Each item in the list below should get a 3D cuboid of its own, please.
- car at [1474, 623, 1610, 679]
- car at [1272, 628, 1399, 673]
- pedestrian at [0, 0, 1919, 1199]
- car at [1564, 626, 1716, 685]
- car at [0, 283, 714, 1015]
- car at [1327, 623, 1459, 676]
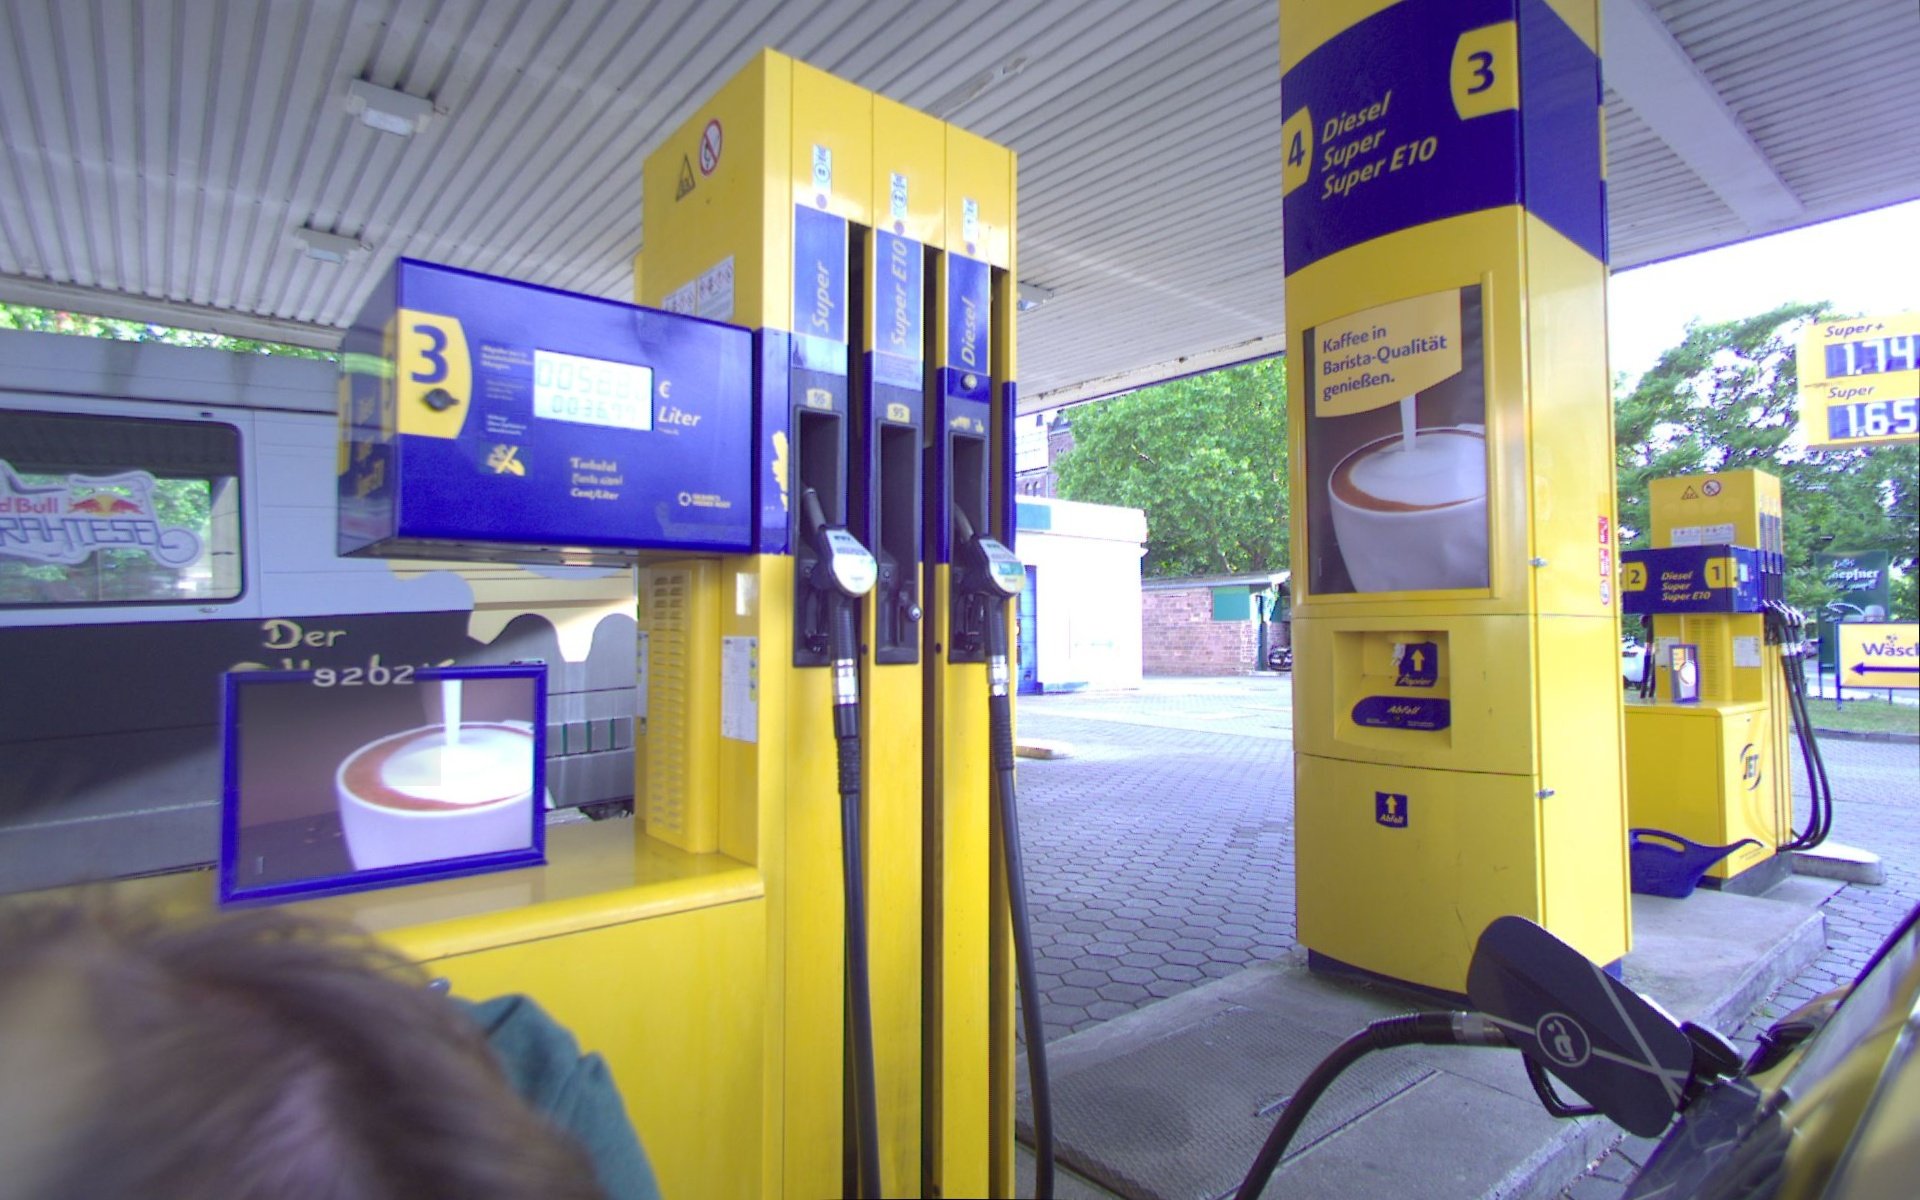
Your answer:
[{"bbox_3d":[17.767,1.572,30.846,4.112,1.606,1.826,2,-3,-31],"label":"car"},{"bbox_3d":[12.639,1.693,34.027,4.112,1.453,1.826,2,-3,-31],"label":"car"},{"bbox_3d":[-0.332,0.527,0.559,0.975,1.750,1.182,-2,1,-36],"label":"pedestrian"},{"bbox_3d":[18.251,1.481,27.129,4.112,1.478,1.826,2,-3,-31],"label":"car"},{"bbox_3d":[-4.099,0.193,4.848,5.248,2.760,2.201,0,-1,-39],"label":"car"},{"bbox_3d":[13.778,1.563,32.164,4.112,1.606,1.826,2,-3,-31],"label":"car"}]
